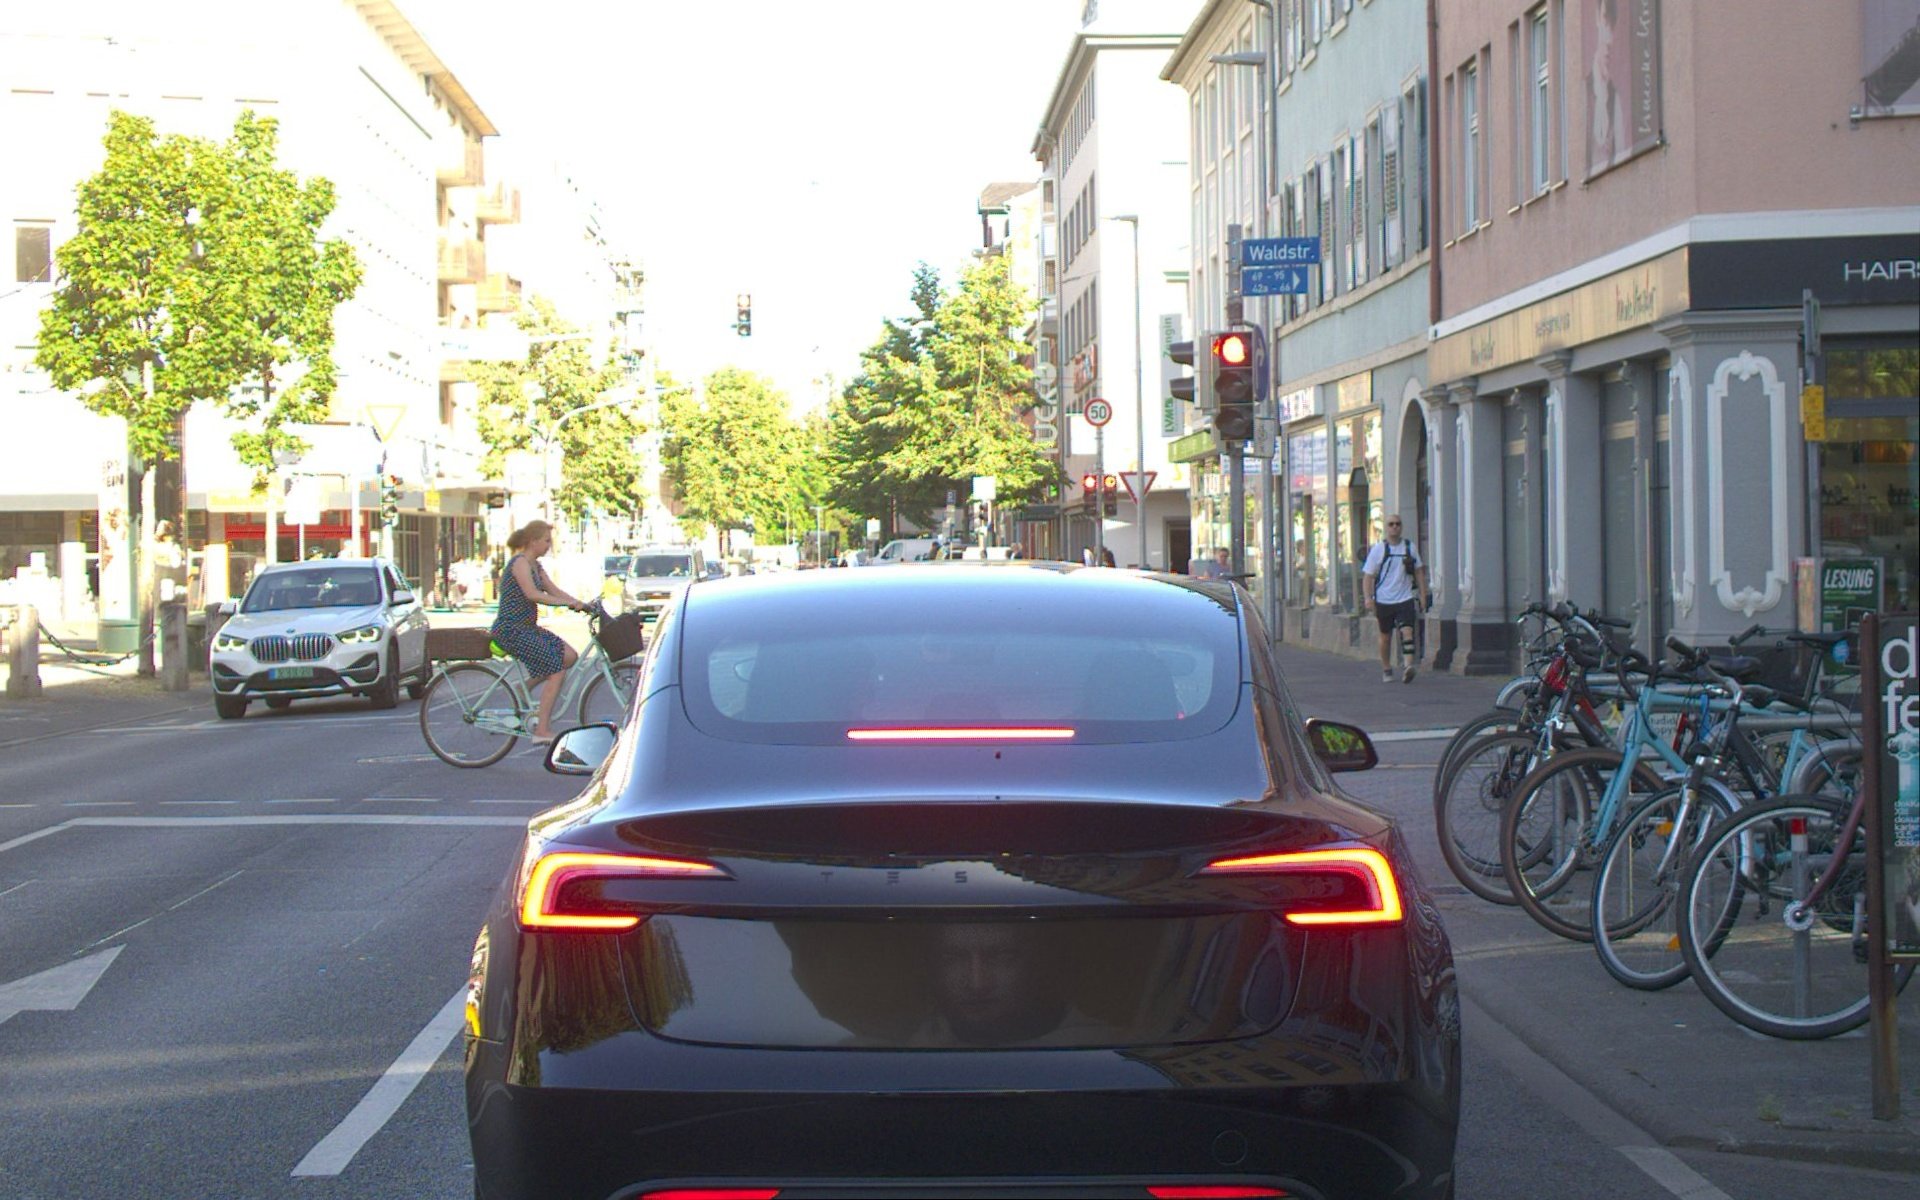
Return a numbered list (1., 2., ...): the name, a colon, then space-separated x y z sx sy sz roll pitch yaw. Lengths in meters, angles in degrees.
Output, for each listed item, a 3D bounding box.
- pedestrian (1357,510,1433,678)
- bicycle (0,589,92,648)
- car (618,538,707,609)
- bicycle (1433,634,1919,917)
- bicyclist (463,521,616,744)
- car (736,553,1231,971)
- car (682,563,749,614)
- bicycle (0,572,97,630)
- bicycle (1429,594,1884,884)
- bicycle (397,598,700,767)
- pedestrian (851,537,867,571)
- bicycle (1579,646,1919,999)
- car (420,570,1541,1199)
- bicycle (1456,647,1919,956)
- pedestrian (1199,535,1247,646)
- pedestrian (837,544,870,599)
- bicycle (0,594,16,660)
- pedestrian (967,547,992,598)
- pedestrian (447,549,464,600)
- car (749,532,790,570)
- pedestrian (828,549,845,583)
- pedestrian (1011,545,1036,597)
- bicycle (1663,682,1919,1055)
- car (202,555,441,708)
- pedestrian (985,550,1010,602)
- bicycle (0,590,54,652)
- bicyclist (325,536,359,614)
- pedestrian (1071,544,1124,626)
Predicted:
1. pedestrian: 4.617 -0.069 36.520 0.750 1.759 0.836 0 0 4
2. bicycle: -14.835 0.293 54.788 1.864 0.931 0.606 0 1 -1
3. car: -7.031 -0.653 81.613 1.787 1.640 4.403 0 1 -1
4. bicycle: 2.851 0.687 13.635 1.873 1.034 0.547 -2 0 5
5. bicyclist: -2.844 0.211 23.298 0.891 1.477 0.701 1 0 4
6. car: 0.016 0.535 13.804 1.718 1.420 3.758 0 1 -2
7. car: -7.141 -0.351 100.718 1.715 1.441 3.845 1 1 -1
8. bicycle: -20.802 0.019 77.906 2.361 1.291 0.513 1 0 -26
9. bicycle: 2.967 0.592 14.757 1.828 1.165 0.505 -2 0 5
10. bicycle: -2.775 0.550 23.291 1.934 1.114 0.709 0 0 4
11. pedestrian: -6.074 -2.760 206.210 0.930 2.007 0.938 1 0 -1
12. bicycle: 2.998 0.702 11.165 1.873 1.084 0.414 -2 0 4
13. car: 0.011 0.657 7.591 1.822 1.437 4.000 0 1 -1
14. bicycle: 2.781 0.720 12.472 1.873 1.034 0.533 -2 0 4
15. pedestrian: 4.150 -0.155 54.188 0.706 1.736 0.540 0 1 -1
16. pedestrian: -3.282 -0.891 105.722 0.715 1.689 0.851 0 1 -28
17. bicycle: -14.690 0.378 49.803 1.864 0.931 0.606 1 0 -1
18. pedestrian: 0.539 -0.773 95.803 0.472 1.412 0.522 1 0 -31
19. pedestrian: -14.359 -0.731 97.889 0.459 1.455 0.518 0 1 -5
20. car: -10.353 -2.660 187.091 1.993 2.007 4.000 1 1 -1
21. pedestrian: -7.381 -2.040 205.624 0.930 2.007 0.938 1 0 -1
22. pedestrian: 1.765 -0.807 95.760 0.521 1.417 0.479 1 0 -30
23. bicycle: 3.021 0.755 9.944 1.873 1.034 0.353 -2 0 6
24. car: -6.648 0.292 36.153 1.789 1.455 3.757 -2 1 0
25. pedestrian: 1.038 -0.660 95.021 0.521 1.417 0.479 1 0 -30
26. bicycle: -14.807 0.319 52.340 1.864 0.931 0.606 0 1 -1
27. bicyclist: -11.884 -0.486 66.136 0.522 1.498 0.476 1 0 -24
28. pedestrian: 2.771 -0.306 69.244 0.754 1.626 0.956 1 0 -18
